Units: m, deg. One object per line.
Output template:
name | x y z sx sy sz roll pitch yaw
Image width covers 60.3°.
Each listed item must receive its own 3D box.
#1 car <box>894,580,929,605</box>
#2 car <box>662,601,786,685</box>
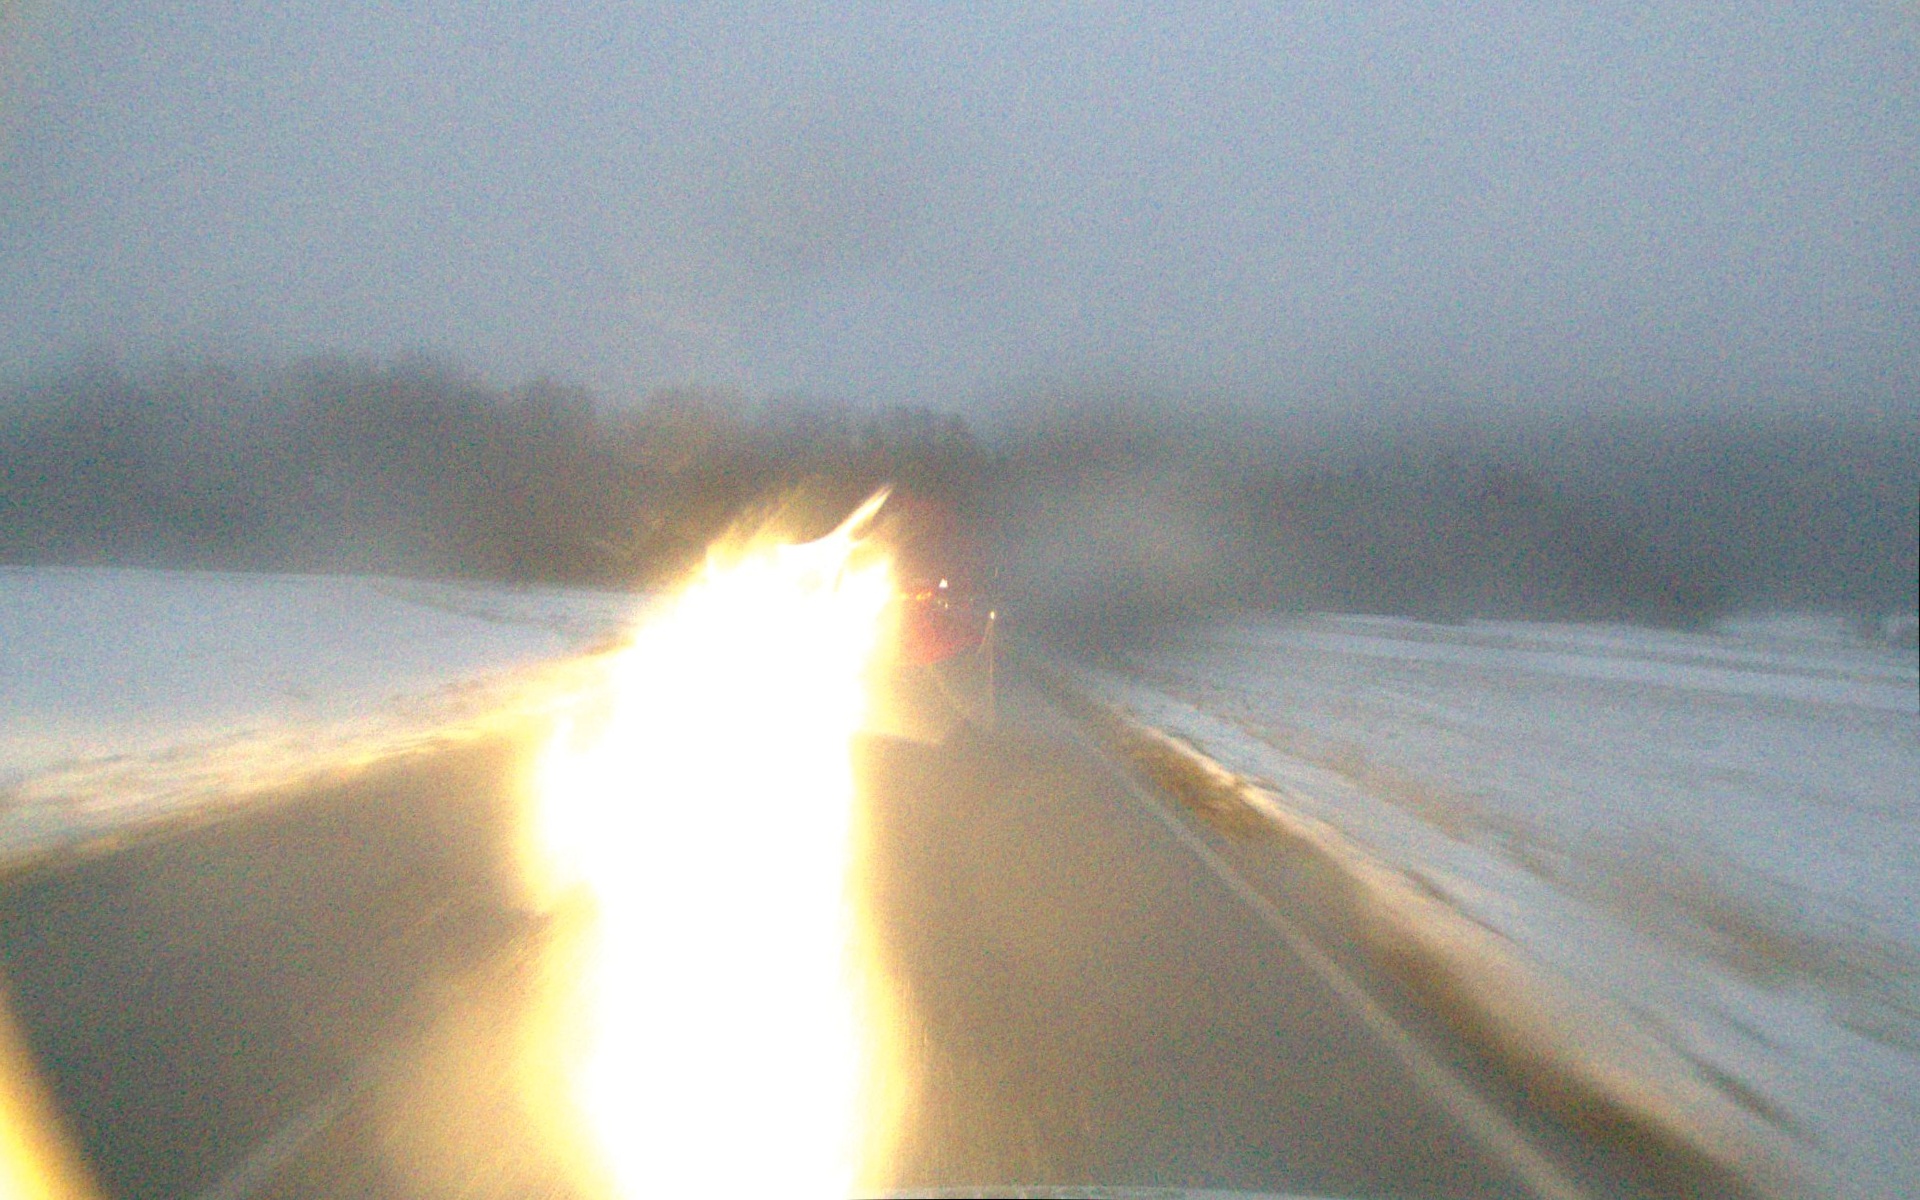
car | -4.106 -0.626 141.111 1.951 2.087 4.003 2 0 14
car | -4.170 0.715 29.822 1.692 1.370 4.221 -1 0 -1
